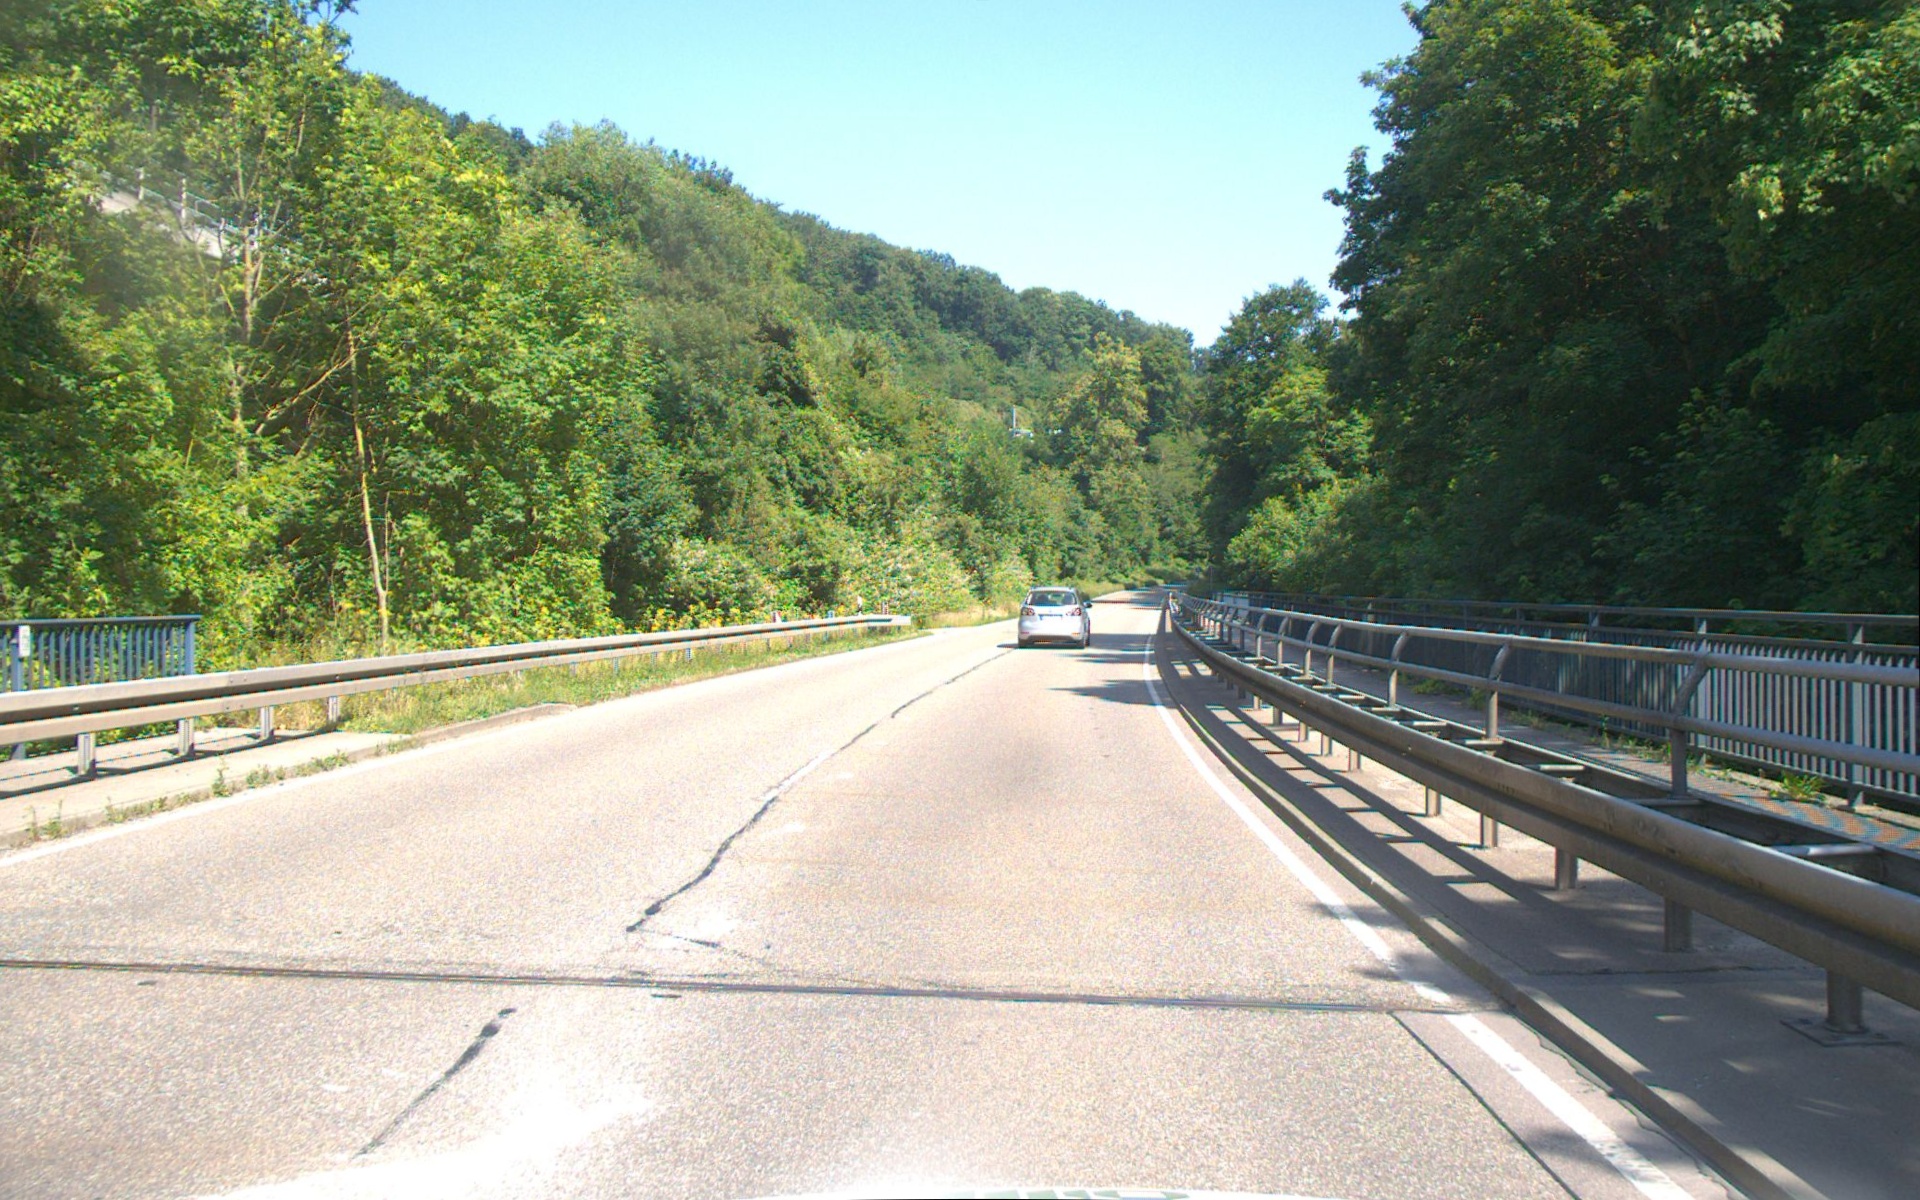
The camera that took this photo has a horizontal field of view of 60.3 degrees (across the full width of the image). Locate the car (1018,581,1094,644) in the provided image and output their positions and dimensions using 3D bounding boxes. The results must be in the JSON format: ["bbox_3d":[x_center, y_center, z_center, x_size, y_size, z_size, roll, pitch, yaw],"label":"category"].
[{"bbox_3d":[2.548,0.287,43.278,1.714,1.546,4.162,1,1,7],"label":"car"}]
